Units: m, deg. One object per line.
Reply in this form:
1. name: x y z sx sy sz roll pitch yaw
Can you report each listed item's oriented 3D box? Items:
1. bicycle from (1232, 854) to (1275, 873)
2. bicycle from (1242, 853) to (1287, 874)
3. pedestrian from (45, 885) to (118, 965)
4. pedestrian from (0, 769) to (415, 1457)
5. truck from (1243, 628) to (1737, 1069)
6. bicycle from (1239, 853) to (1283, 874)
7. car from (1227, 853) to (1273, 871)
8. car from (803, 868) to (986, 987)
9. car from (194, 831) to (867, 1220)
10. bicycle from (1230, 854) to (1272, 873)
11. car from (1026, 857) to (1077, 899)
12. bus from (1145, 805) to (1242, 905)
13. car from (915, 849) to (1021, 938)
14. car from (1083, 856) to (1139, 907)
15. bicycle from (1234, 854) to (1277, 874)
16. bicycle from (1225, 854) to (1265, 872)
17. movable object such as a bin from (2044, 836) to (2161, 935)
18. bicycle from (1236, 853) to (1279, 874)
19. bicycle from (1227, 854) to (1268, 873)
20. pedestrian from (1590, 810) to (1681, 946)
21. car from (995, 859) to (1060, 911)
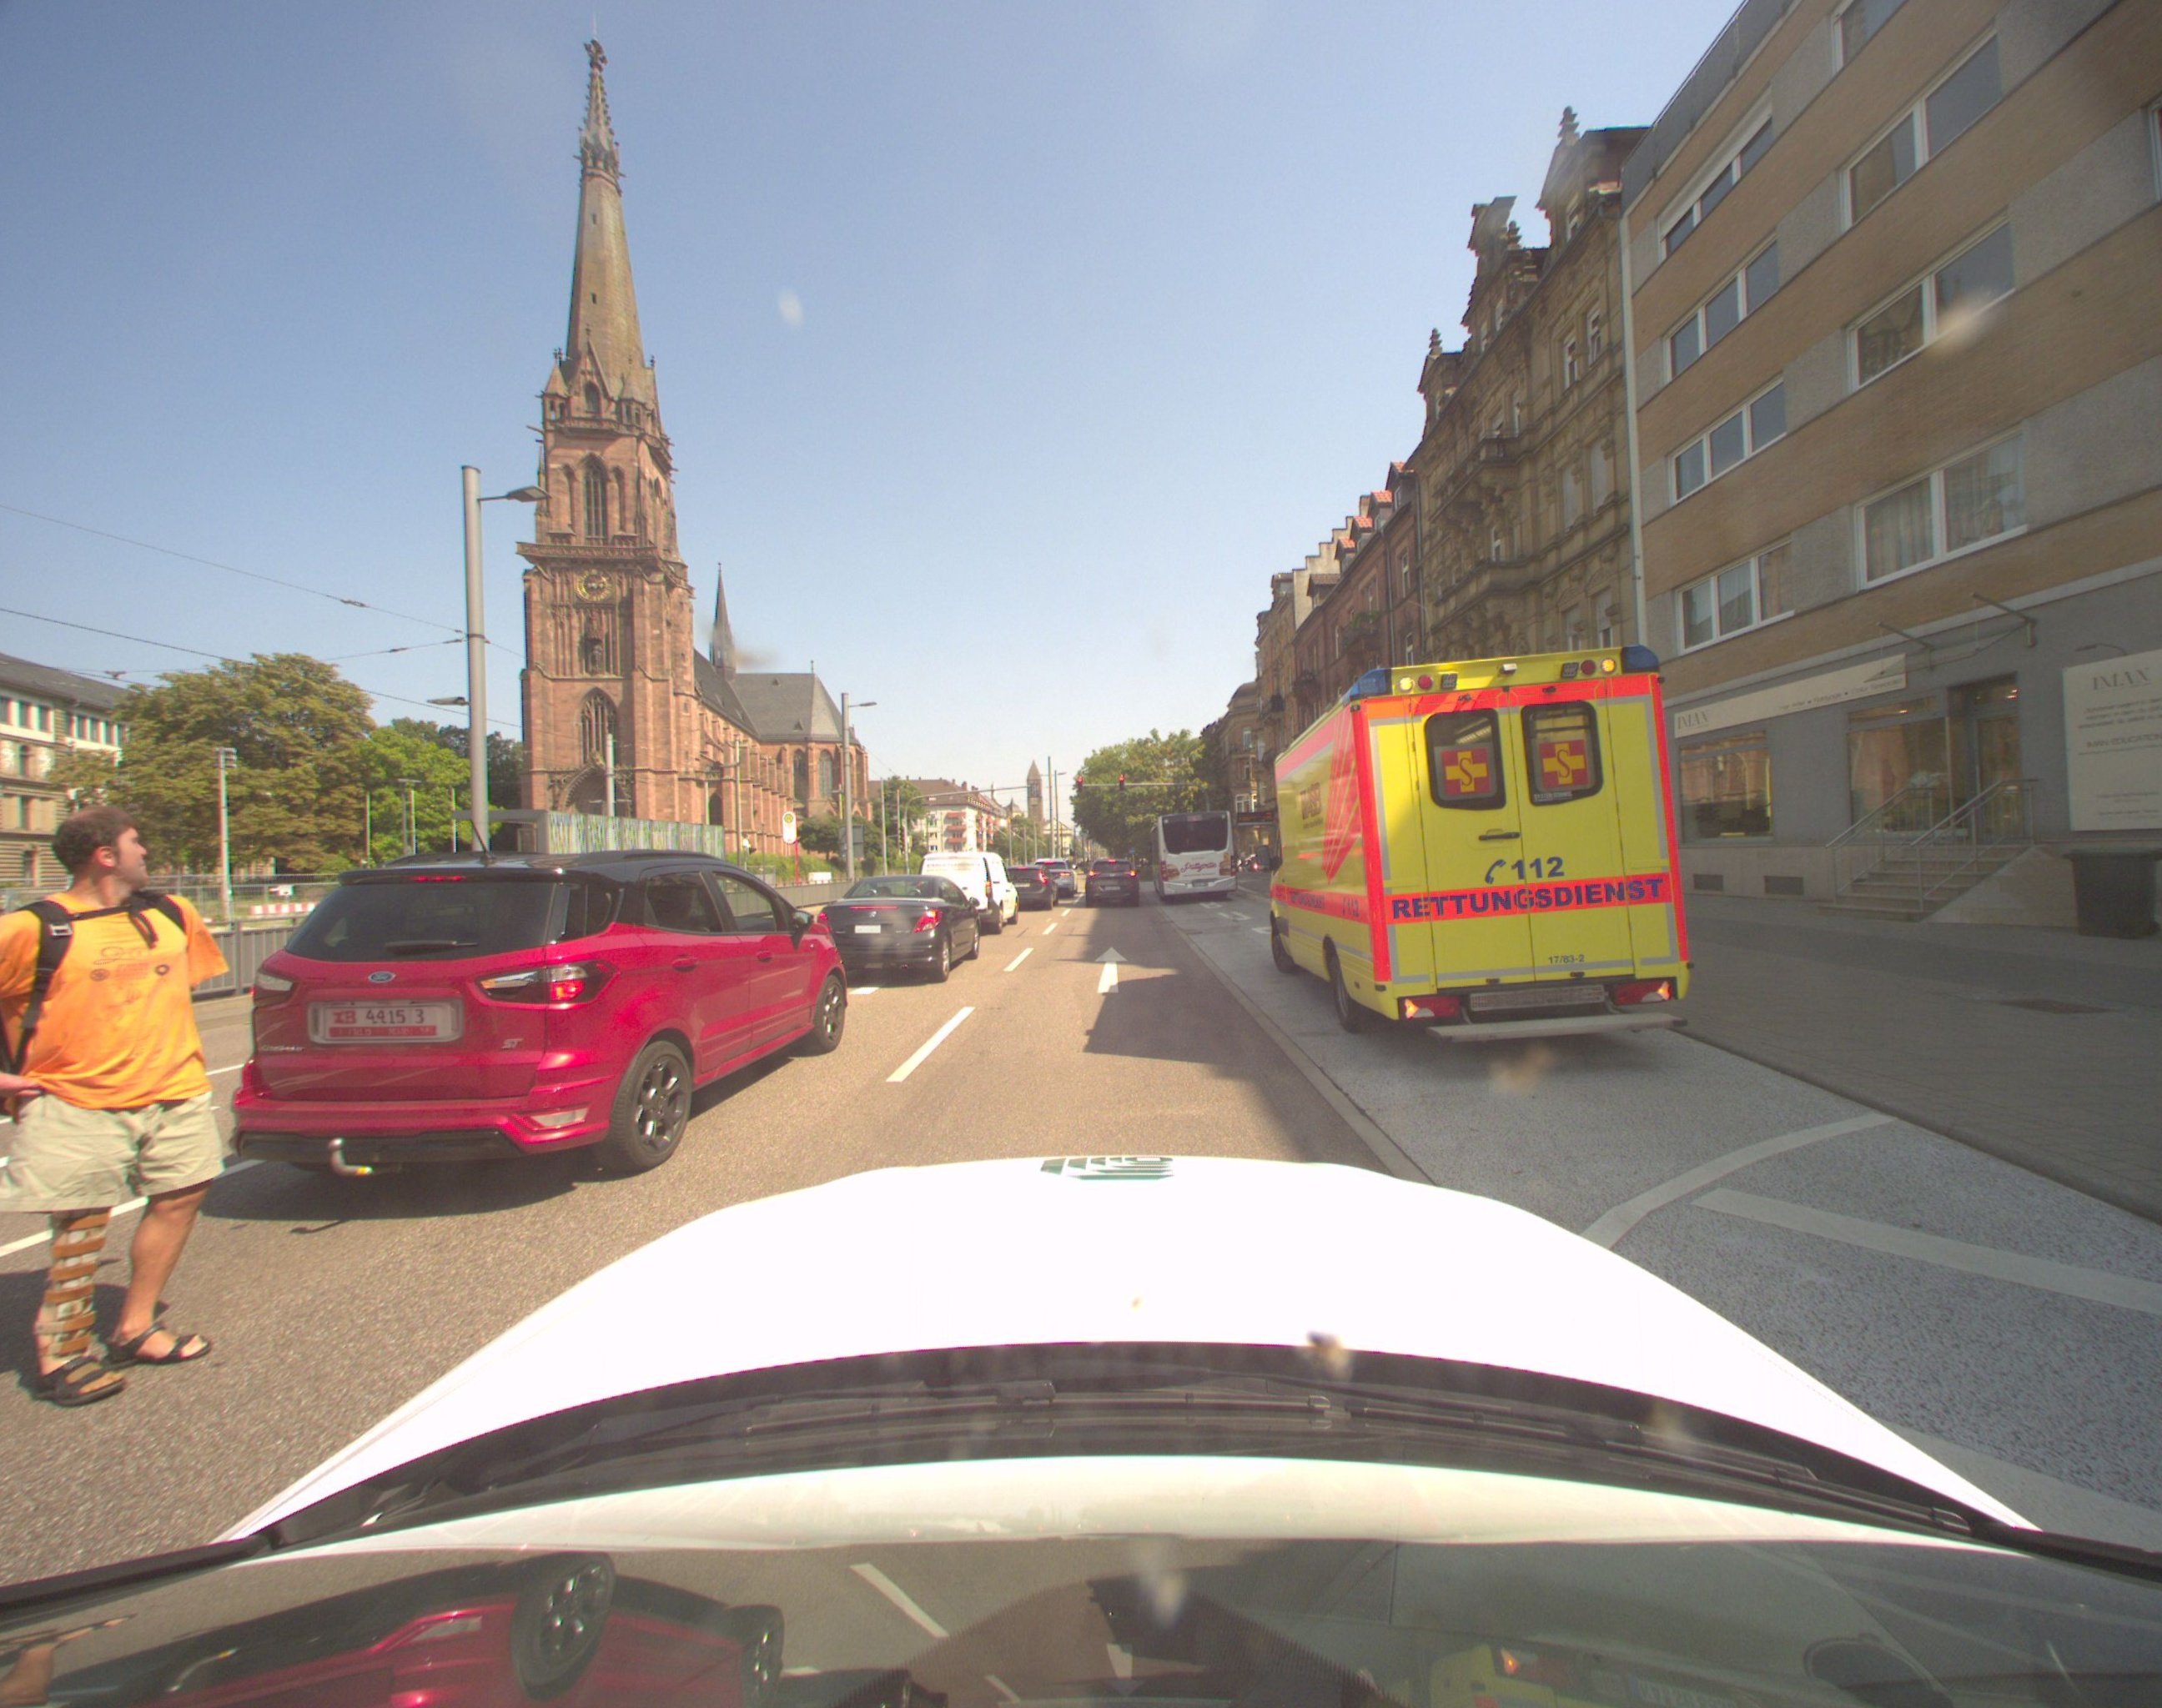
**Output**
1. bicycle: 13.181 0.718 62.305 2.993 1.373 0.947 -2 -1 1
2. bicycle: 13.180 0.697 58.593 2.983 1.371 0.871 -2 -1 0
3. pedestrian: -23.491 1.647 19.157 0.740 1.787 0.762 -2 -1 2
4. pedestrian: -2.991 0.663 2.488 1.240 1.741 0.960 0 -1 -22
5. truck: 3.321 0.006 8.594 2.317 2.770 6.347 -4 -1 5
6. bicycle: 13.113 0.691 59.501 2.983 1.371 0.871 -2 -1 0
7. car: 16.143 0.786 77.932 3.927 1.521 1.679 -2 -1 -6
8. car: -2.511 0.933 11.895 1.682 1.414 3.802 -1 -1 1
9. car: -2.860 0.746 5.420 1.623 1.620 3.970 -1 -1 3
10. bicycle: 13.226 0.724 63.399 2.993 1.373 0.947 -2 -1 1
11. car: -1.212 0.982 35.388 1.895 1.651 4.310 -1 0 2
12. bus: 4.182 0.074 32.915 2.732 3.107 11.966 -5 -1 3
13. car: -2.509 0.842 19.140 1.741 1.820 4.241 -1 -1 2
14. car: 1.102 0.929 28.938 1.825 1.651 4.311 -1 0 3
15. bicycle: 13.153 0.719 61.361 2.983 1.371 0.871 -2 -1 0
16. bicycle: 13.218 0.735 65.728 2.993 1.373 0.947 -2 -1 1
17. movable object such as a bin: 12.318 0.367 9.821 0.648 1.104 0.723 -4 0 -24
18. bicycle: 13.101 0.699 60.414 2.983 1.371 0.871 -2 -1 0
19. bicycle: 13.170 0.736 64.411 2.993 1.373 0.947 -2 -1 1
20. pedestrian: 7.192 0.309 10.587 0.719 1.692 0.593 -2 -1 0
21. car: -1.728 0.973 27.549 1.741 1.614 4.310 -1 0 2
